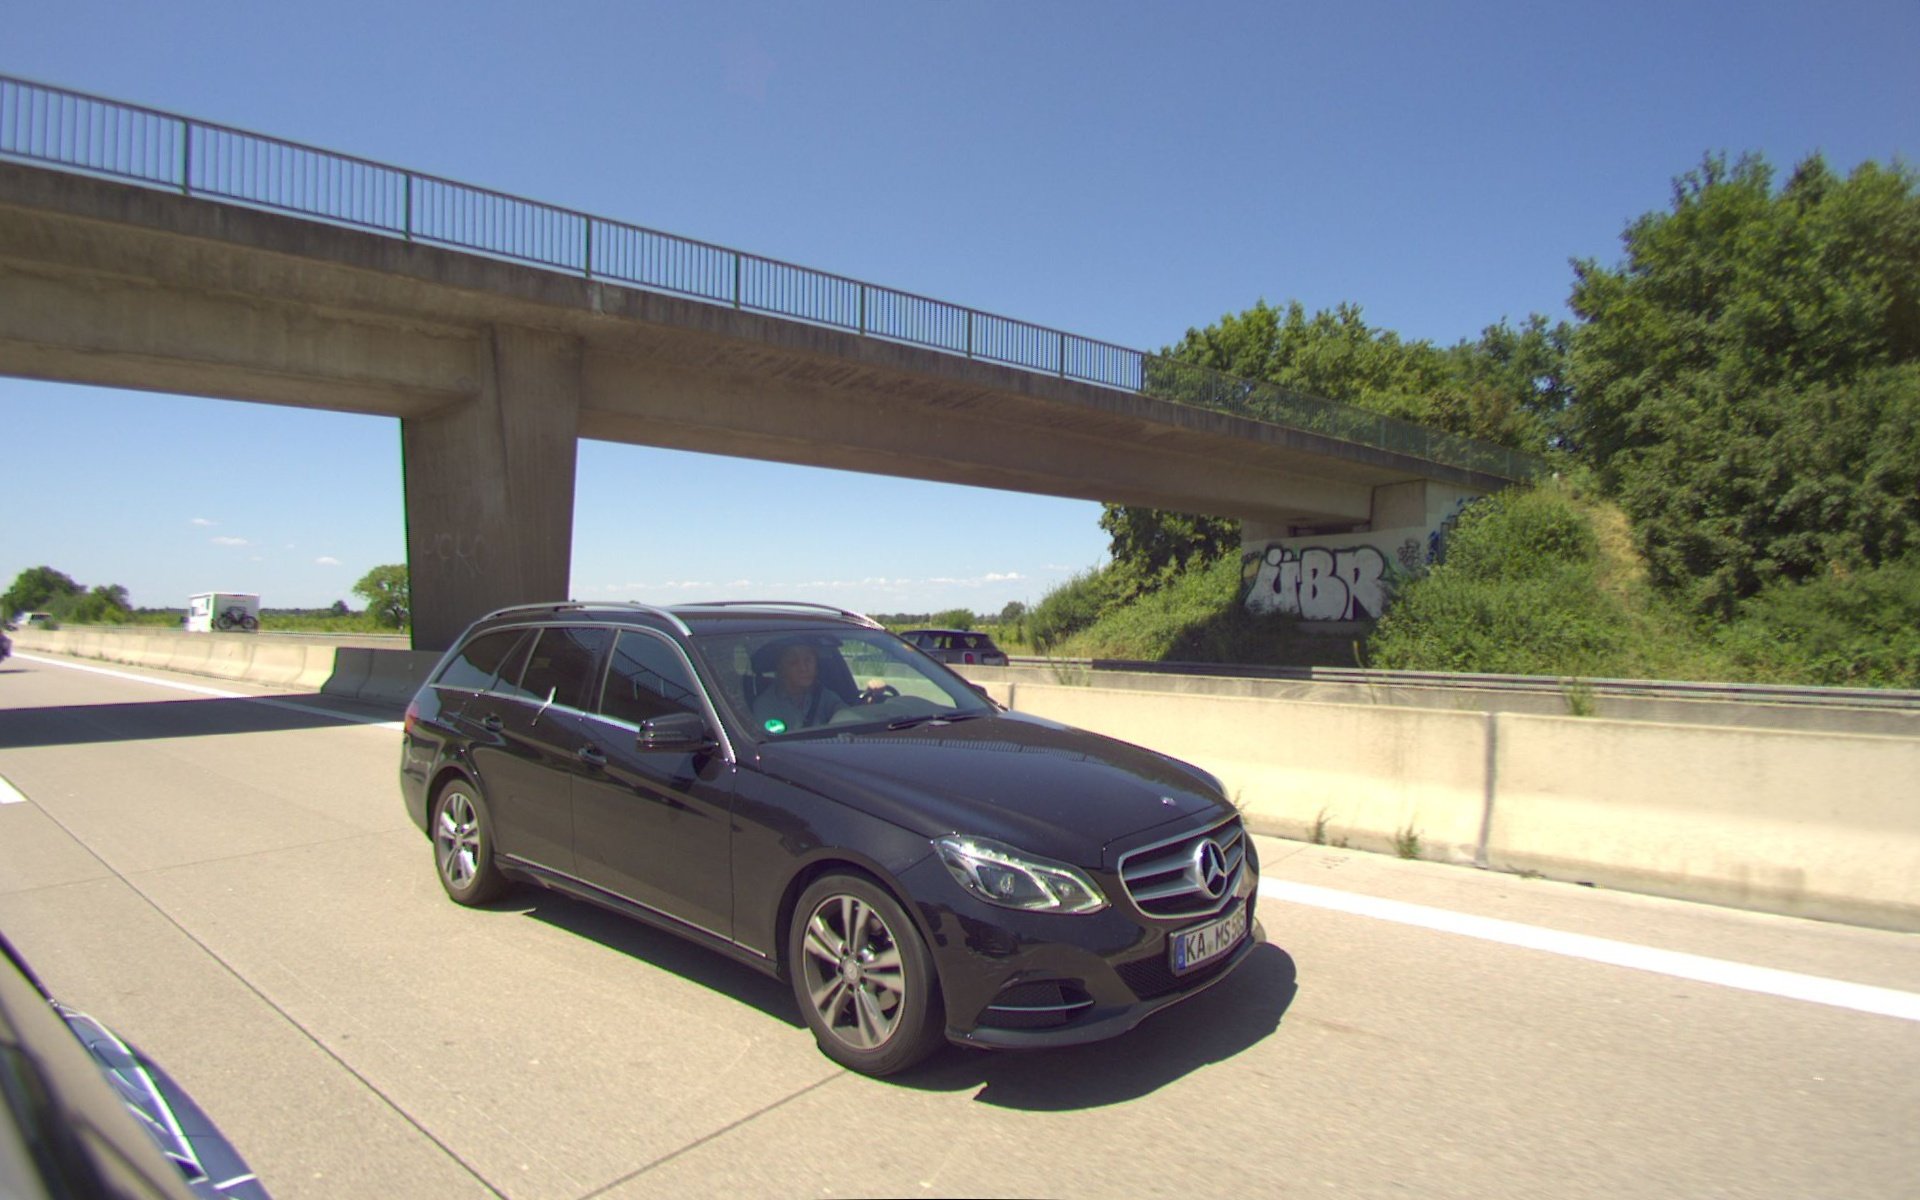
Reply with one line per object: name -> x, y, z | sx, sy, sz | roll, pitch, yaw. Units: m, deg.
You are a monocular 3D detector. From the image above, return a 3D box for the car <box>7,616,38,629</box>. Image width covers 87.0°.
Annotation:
car -> -108.881, 2.600, 117.518 | 6.132, 1.508, 2.044 | -1, -2, 41

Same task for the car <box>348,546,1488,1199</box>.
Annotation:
car -> -0.842, 0.686, 4.743 | 5.601, 1.484, 1.871 | -1, -2, 41

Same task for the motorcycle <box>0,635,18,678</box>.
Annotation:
motorcycle -> -25.115, 1.443, 26.111 | 2.413, 1.057, 1.010 | -2, -2, 43

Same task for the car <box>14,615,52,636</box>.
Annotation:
car -> -80.184, 2.170, 87.491 | 5.789, 1.731, 1.807 | -1, -1, 41

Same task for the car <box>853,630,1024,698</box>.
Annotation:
car -> -0.515, 1.328, 22.013 | 3.630, 1.329, 1.549 | -1, -2, 41

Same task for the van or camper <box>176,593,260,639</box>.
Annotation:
van or camper -> -42.966, 0.925, 58.506 | 7.797, 2.462, 2.226 | -1, 0, 41

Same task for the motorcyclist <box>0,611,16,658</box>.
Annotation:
motorcyclist -> -25.061, 0.884, 26.087 | 0.911, 1.218, 1.013 | -2, -2, 44
